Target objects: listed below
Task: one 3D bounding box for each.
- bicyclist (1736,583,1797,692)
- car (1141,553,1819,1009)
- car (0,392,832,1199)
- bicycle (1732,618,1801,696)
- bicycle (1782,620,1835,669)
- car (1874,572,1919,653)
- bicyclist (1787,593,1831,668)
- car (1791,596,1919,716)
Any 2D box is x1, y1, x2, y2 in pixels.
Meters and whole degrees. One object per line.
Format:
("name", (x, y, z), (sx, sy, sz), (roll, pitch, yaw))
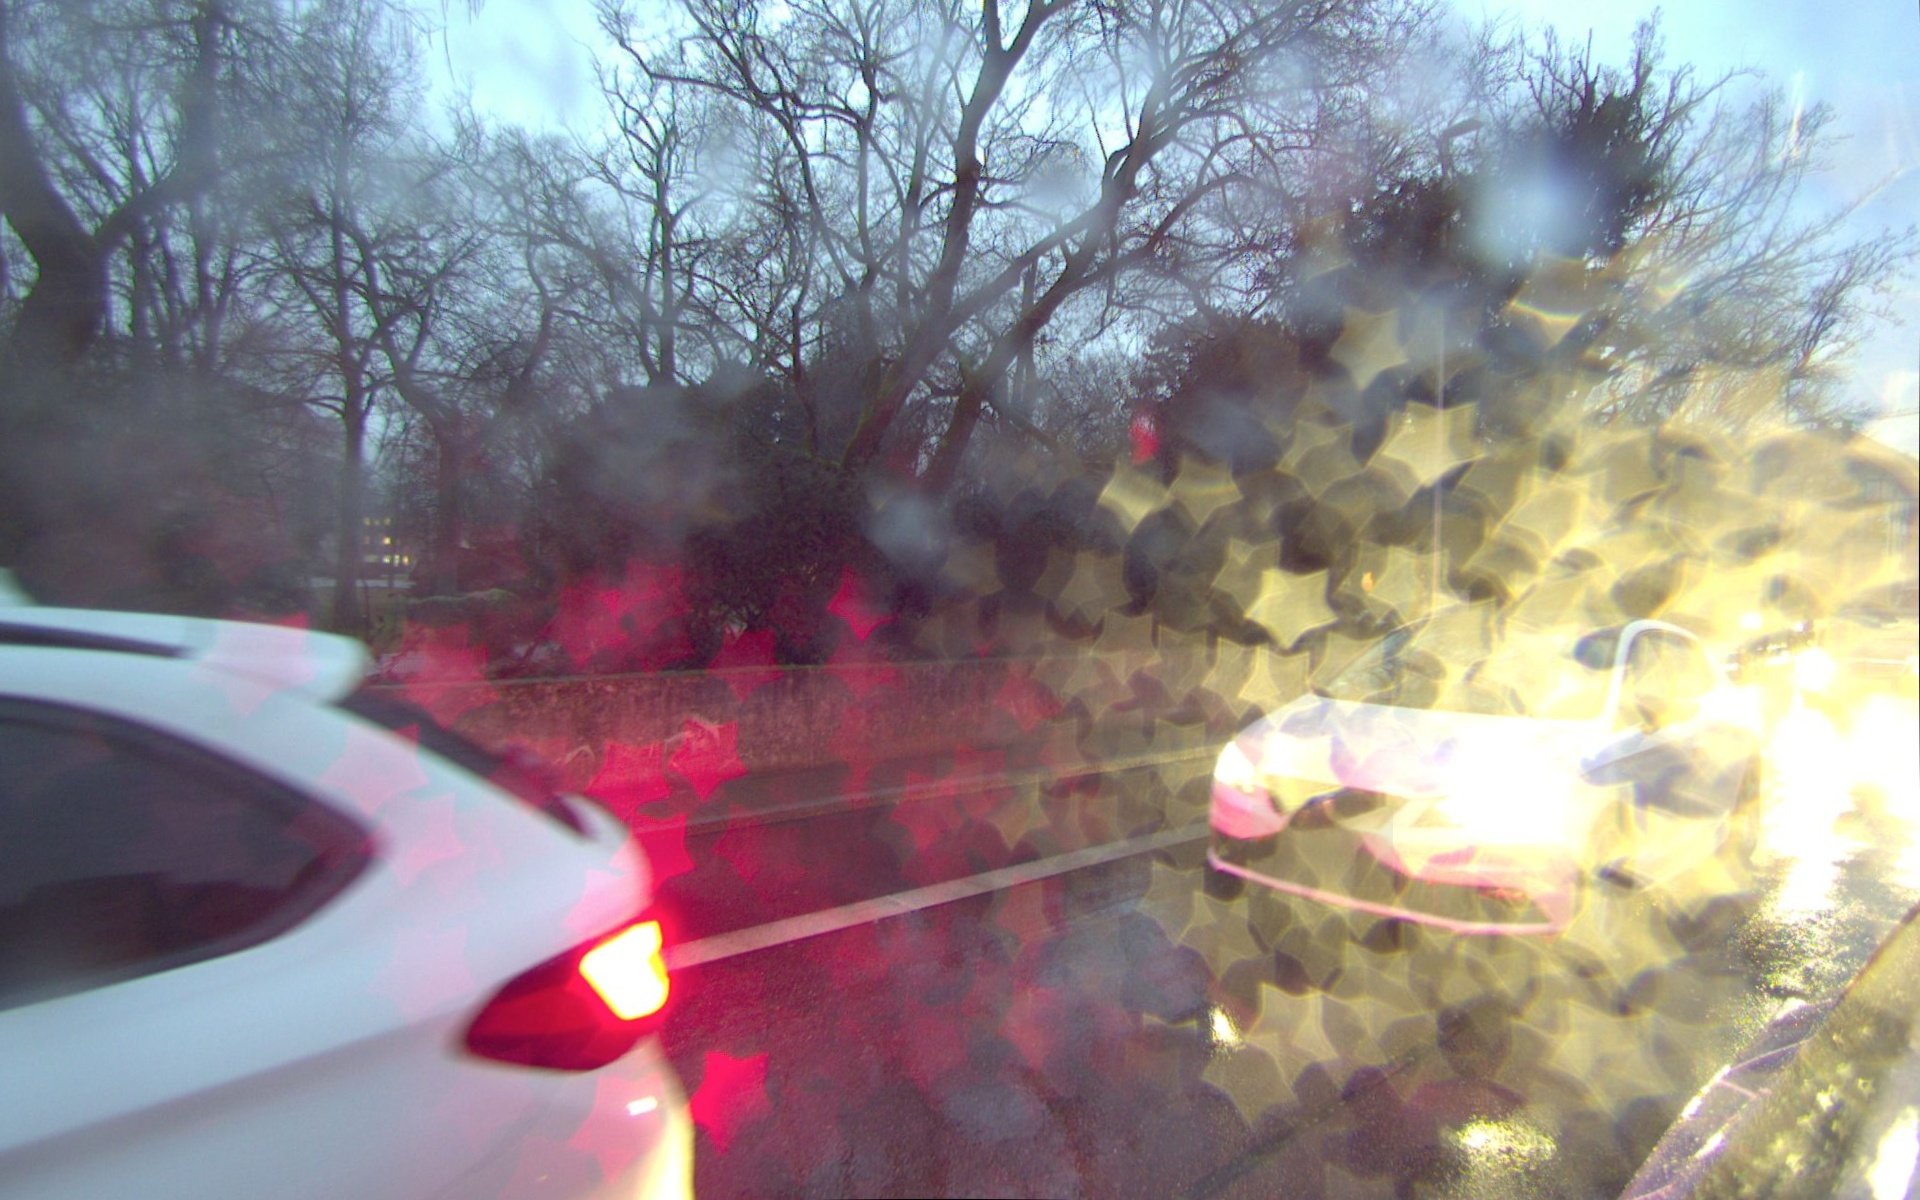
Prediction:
("bicyclist", (17.223, 0.779, 21.610), (0.964, 2.251, 0.921), (-1, 0, 42))
("car", (3.064, 0.602, 5.567), (4.097, 1.580, 1.885), (0, 2, -41))
("car", (-2.597, 0.551, 0.659), (4.857, 1.575, 1.864), (0, 2, -45))
("bicycle", (17.313, 1.167, 21.693), (0.964, 1.469, 3.338), (0, 0, 42))
("bicycle", (19.630, 1.002, 23.405), (1.691, 1.055, 0.691), (0, 0, -41))
("car", (21.332, 0.247, 21.672), (4.193, 1.648, 2.072), (0, 0, -40))
("bicyclist", (19.625, 0.684, 23.398), (0.582, 1.706, 0.691), (0, 0, -41))
("car", (14.590, 0.766, 15.705), (4.196, 1.648, 2.070), (0, 0, -43))
